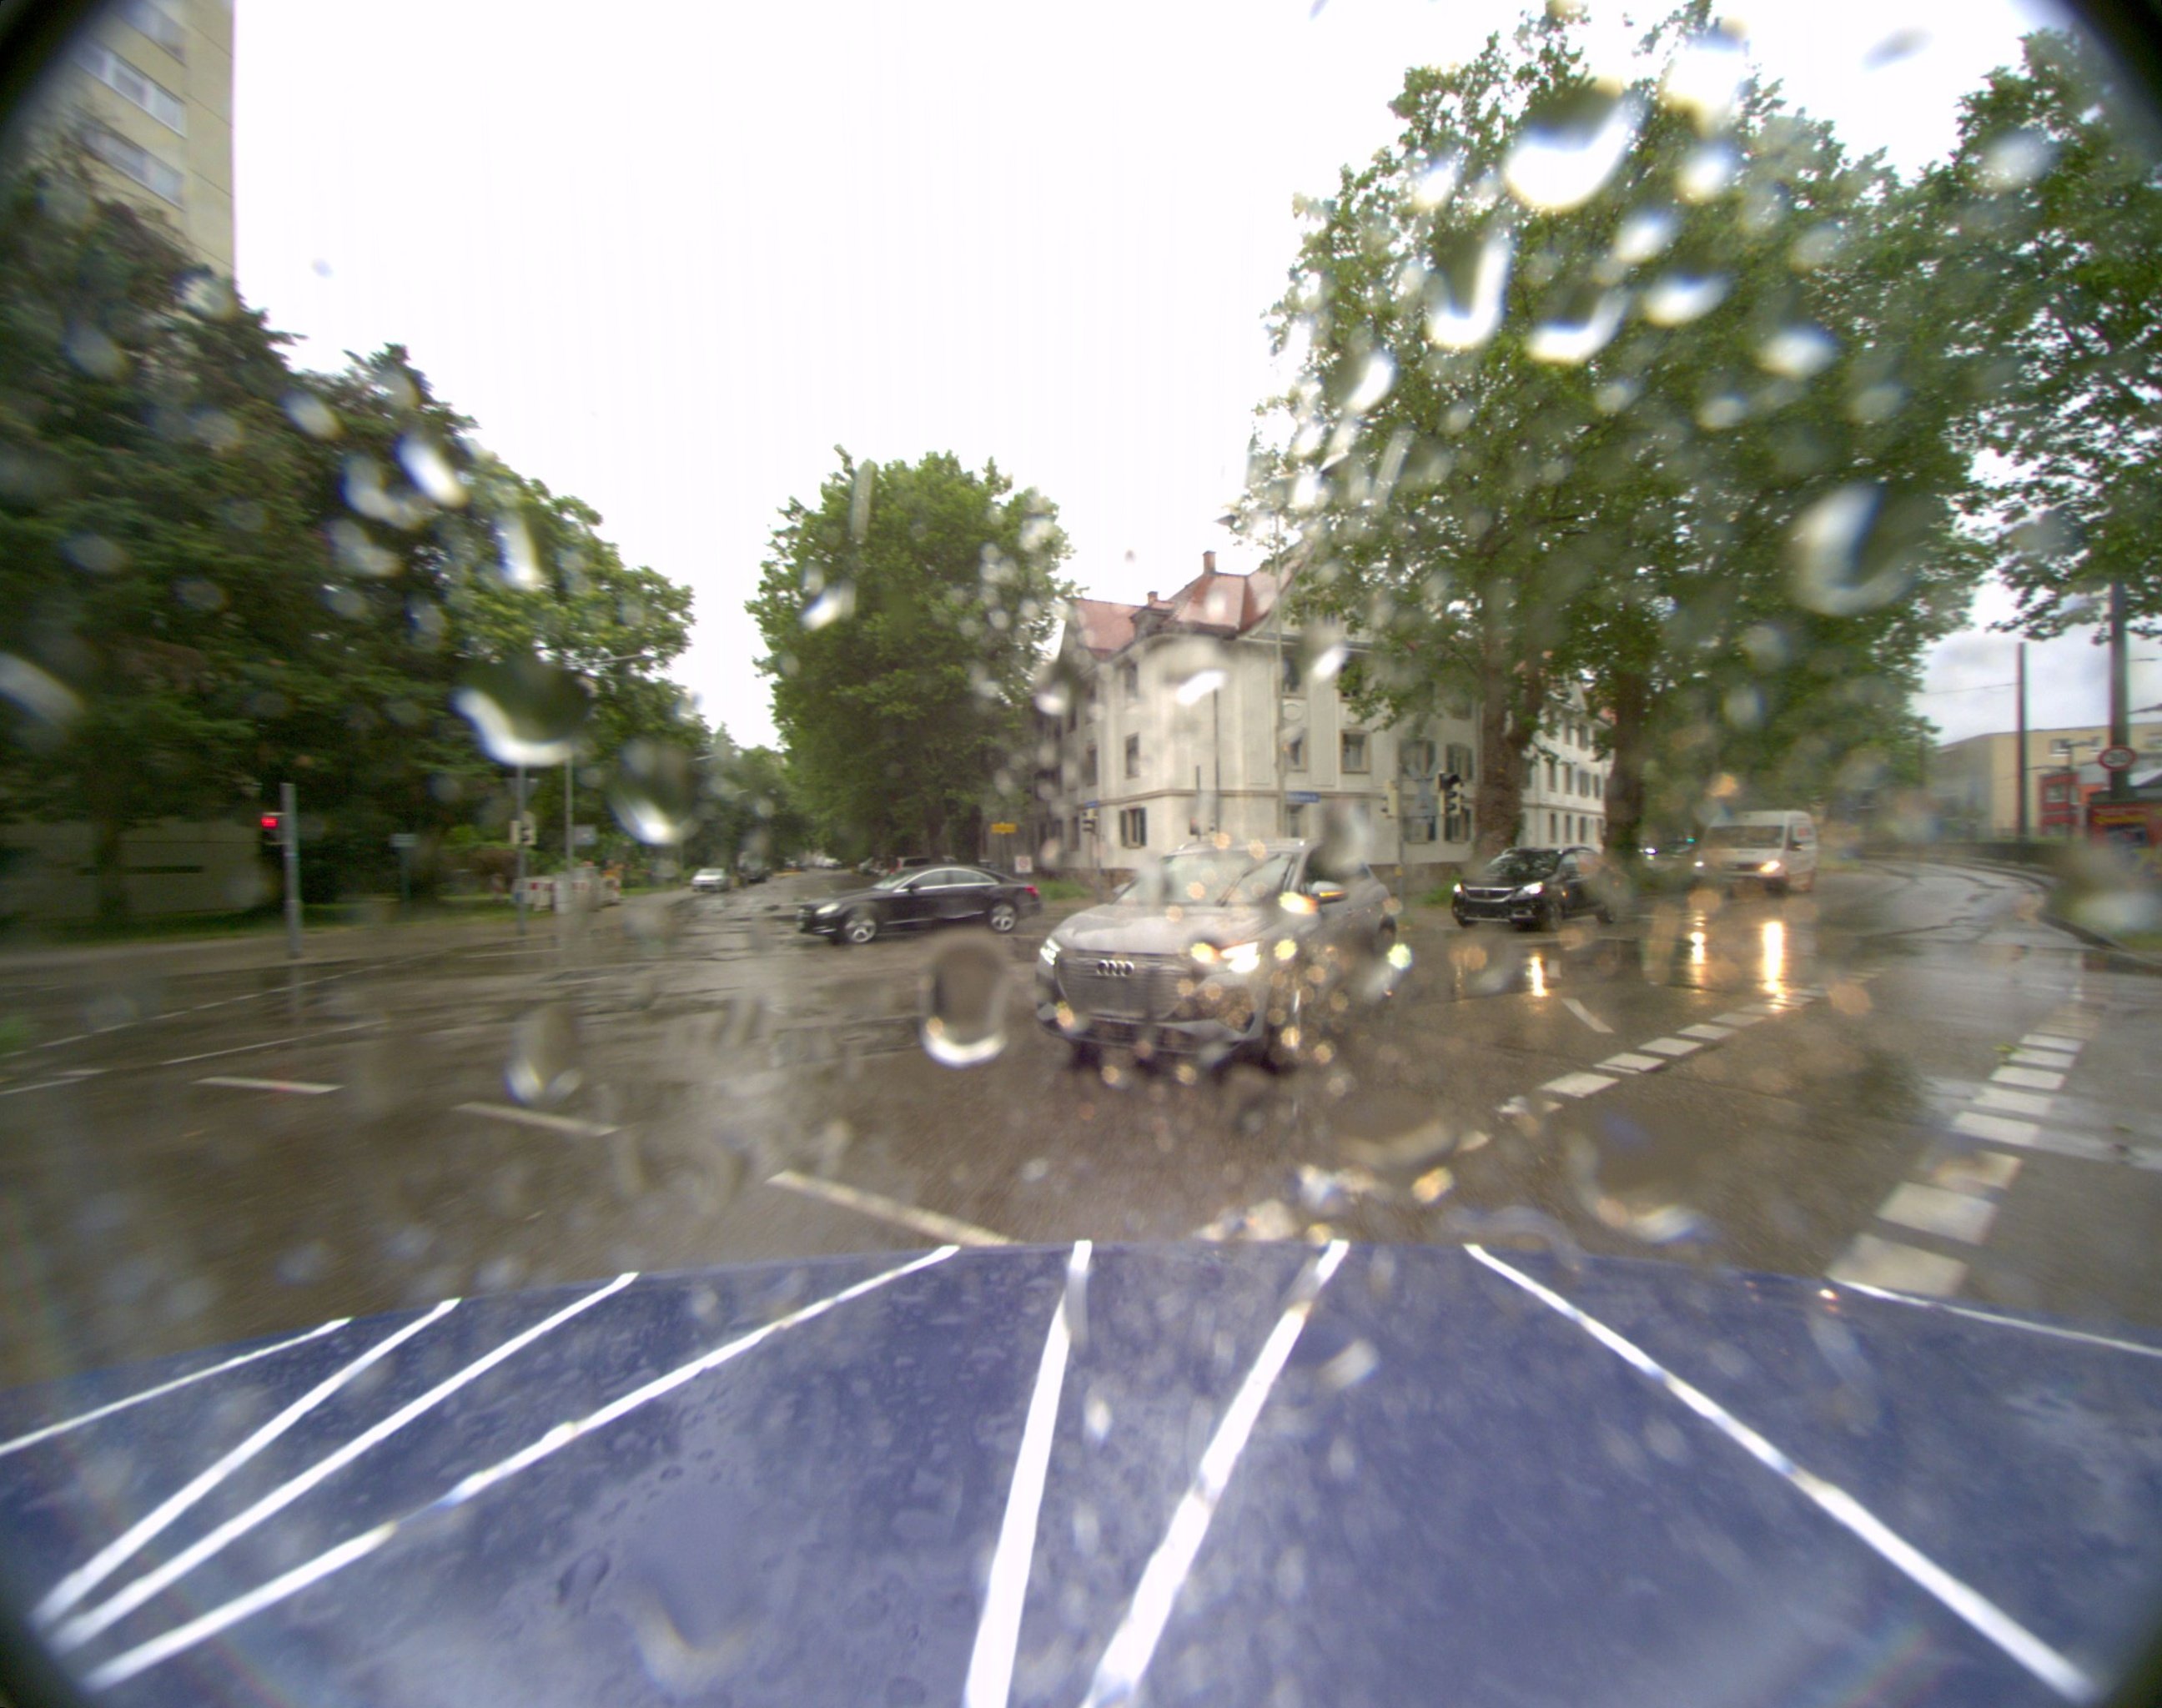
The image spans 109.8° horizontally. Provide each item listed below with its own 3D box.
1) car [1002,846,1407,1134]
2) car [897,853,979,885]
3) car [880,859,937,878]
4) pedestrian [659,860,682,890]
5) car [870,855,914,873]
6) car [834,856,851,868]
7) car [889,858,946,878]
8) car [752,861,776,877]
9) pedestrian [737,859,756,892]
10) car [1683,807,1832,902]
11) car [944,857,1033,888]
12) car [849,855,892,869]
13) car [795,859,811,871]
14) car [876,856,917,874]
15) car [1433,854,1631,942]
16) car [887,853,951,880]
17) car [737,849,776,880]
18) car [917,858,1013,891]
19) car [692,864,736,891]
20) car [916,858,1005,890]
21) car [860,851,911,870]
[{"bbox_3d":[1.375,0.769,6.471,1.805,1.611,4.146,-1,0,34],"label":"car"},{"bbox_3d":[-8.723,0.876,46.317,4.676,1.862,2.030,-1,0,-19],"label":"car"},{"bbox_3d":[-14.890,1.223,65.487,4.534,1.561,2.030,0,0,-19],"label":"car"},{"bbox_3d":[-23.258,1.186,43.038,0.944,1.650,0.927,-1,0,-16],"label":"pedestrian"},{"bbox_3d":[-18.768,1.005,75.552,4.115,1.680,1.825,-1,0,-19],"label":"car"},{"bbox_3d":[-37.775,1.255,120.302,2.002,1.796,3.992,-2,0,-24],"label":"car"},{"bbox_3d":[-13.624,1.170,63.320,4.415,1.576,1.924,0,0,-19],"label":"car"},{"bbox_3d":[-32.480,1.516,77.897,2.002,1.530,3.993,-2,0,-20],"label":"car"},{"bbox_3d":[-20.958,1.336,47.650,0.944,2.050,1.079,-1,0,-16],"label":"pedestrian"},{"bbox_3d":[20.823,-0.065,23.259,6.523,2.547,2.278,-2,1,-38],"label":"car"},{"bbox_3d":[-4.632,0.879,38.037,4.004,1.346,1.794,-2,1,-23],"label":"car"},{"bbox_3d":[-24.678,0.951,89.166,4.676,1.595,2.030,0,0,-19],"label":"car"},{"bbox_3d":[-43.034,1.693,117.695,2.002,1.796,4.341,-2,0,-23],"label":"car"},{"bbox_3d":[-17.807,1.012,73.356,3.726,1.680,1.934,-1,0,-19],"label":"car"},{"bbox_3d":[8.690,0.741,14.535,4.007,1.435,1.849,-1,0,-37],"label":"car"},{"bbox_3d":[-12.174,0.920,57.142,4.448,1.888,2.030,0,0,-21],"label":"car"},{"bbox_3d":[-26.486,0.841,62.189,2.405,2.461,5.683,-1,0,-19],"label":"car"},{"bbox_3d":[-6.166,1.056,40.459,4.746,1.613,1.927,0,0,-22],"label":"car"},{"bbox_3d":[-22.489,1.410,46.651,1.824,1.451,4.266,-2,0,-18],"label":"car"},{"bbox_3d":[-6.822,1.100,42.869,4.676,1.680,2.030,0,0,-19],"label":"car"},{"bbox_3d":[-21.061,0.708,81.860,5.094,2.012,2.030,-1,0,-19],"label":"car"}]
